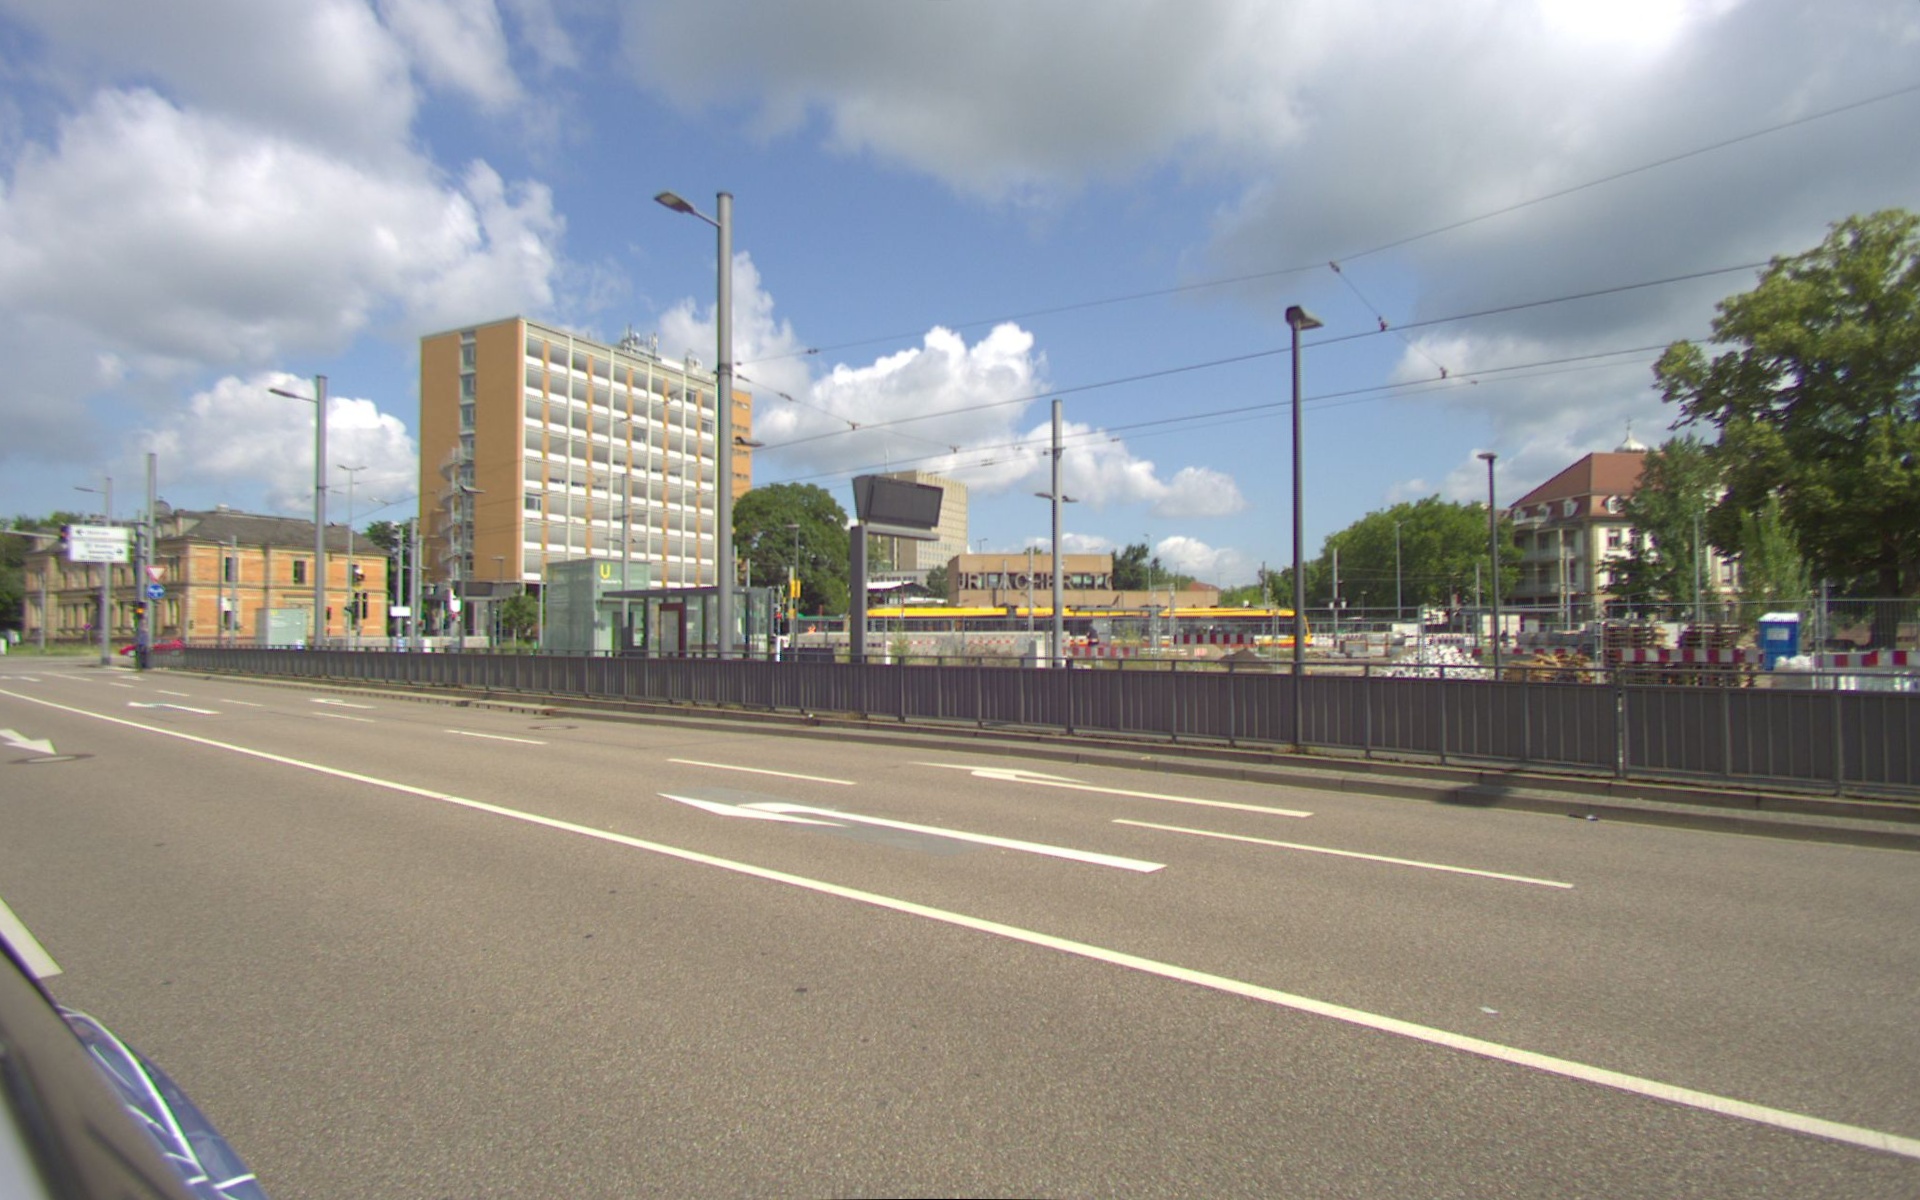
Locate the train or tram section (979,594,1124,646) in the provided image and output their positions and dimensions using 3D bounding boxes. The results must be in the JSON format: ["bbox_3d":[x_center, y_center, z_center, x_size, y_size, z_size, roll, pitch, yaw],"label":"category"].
[{"bbox_3d":[6.919,1.576,77.288,10.444,3.507,3.328,-2,-3,-6],"label":"train or tram section"}]

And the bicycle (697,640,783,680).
[{"bbox_3d":[-8.476,2.273,38.831,3.689,1.438,1.182,-2,-3,39],"label":"bicycle"}]

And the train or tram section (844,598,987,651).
[{"bbox_3d":[-3.413,1.894,76.231,10.444,3.507,3.328,-2,-3,-6],"label":"train or tram section"}]

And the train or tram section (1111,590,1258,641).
[{"bbox_3d":[17.283,1.231,78.339,10.444,3.507,3.328,-2,-3,-6],"label":"train or tram section"}]

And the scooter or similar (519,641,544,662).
[{"bbox_3d":[-24.583,2.974,58.109,1.164,1.175,0.804,-2,-3,31],"label":"scooter or similar"}]

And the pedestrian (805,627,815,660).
[{"bbox_3d":[-8.407,2.441,56.645,0.553,1.808,0.721,0,-2,-8],"label":"pedestrian"}]

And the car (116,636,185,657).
[{"bbox_3d":[-62.172,3.580,77.814,3.998,1.479,1.650,0,-4,-36],"label":"car"}]

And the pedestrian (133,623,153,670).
[{"bbox_3d":[-35.530,2.002,44.016,0.513,2.029,0.498,-2,-3,28],"label":"pedestrian"}]

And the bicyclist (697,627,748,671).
[{"bbox_3d":[-9.260,1.900,39.469,1.682,1.697,1.166,-2,-3,38],"label":"bicyclist"}]

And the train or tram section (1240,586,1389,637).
[{"bbox_3d":[27.722,0.923,79.432,10.444,3.507,3.328,-2,-3,-6],"label":"train or tram section"}]

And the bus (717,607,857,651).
[{"bbox_3d":[-15.036,2.582,88.783,12.177,3.648,2.922,1,-3,-38],"label":"bus"}]
